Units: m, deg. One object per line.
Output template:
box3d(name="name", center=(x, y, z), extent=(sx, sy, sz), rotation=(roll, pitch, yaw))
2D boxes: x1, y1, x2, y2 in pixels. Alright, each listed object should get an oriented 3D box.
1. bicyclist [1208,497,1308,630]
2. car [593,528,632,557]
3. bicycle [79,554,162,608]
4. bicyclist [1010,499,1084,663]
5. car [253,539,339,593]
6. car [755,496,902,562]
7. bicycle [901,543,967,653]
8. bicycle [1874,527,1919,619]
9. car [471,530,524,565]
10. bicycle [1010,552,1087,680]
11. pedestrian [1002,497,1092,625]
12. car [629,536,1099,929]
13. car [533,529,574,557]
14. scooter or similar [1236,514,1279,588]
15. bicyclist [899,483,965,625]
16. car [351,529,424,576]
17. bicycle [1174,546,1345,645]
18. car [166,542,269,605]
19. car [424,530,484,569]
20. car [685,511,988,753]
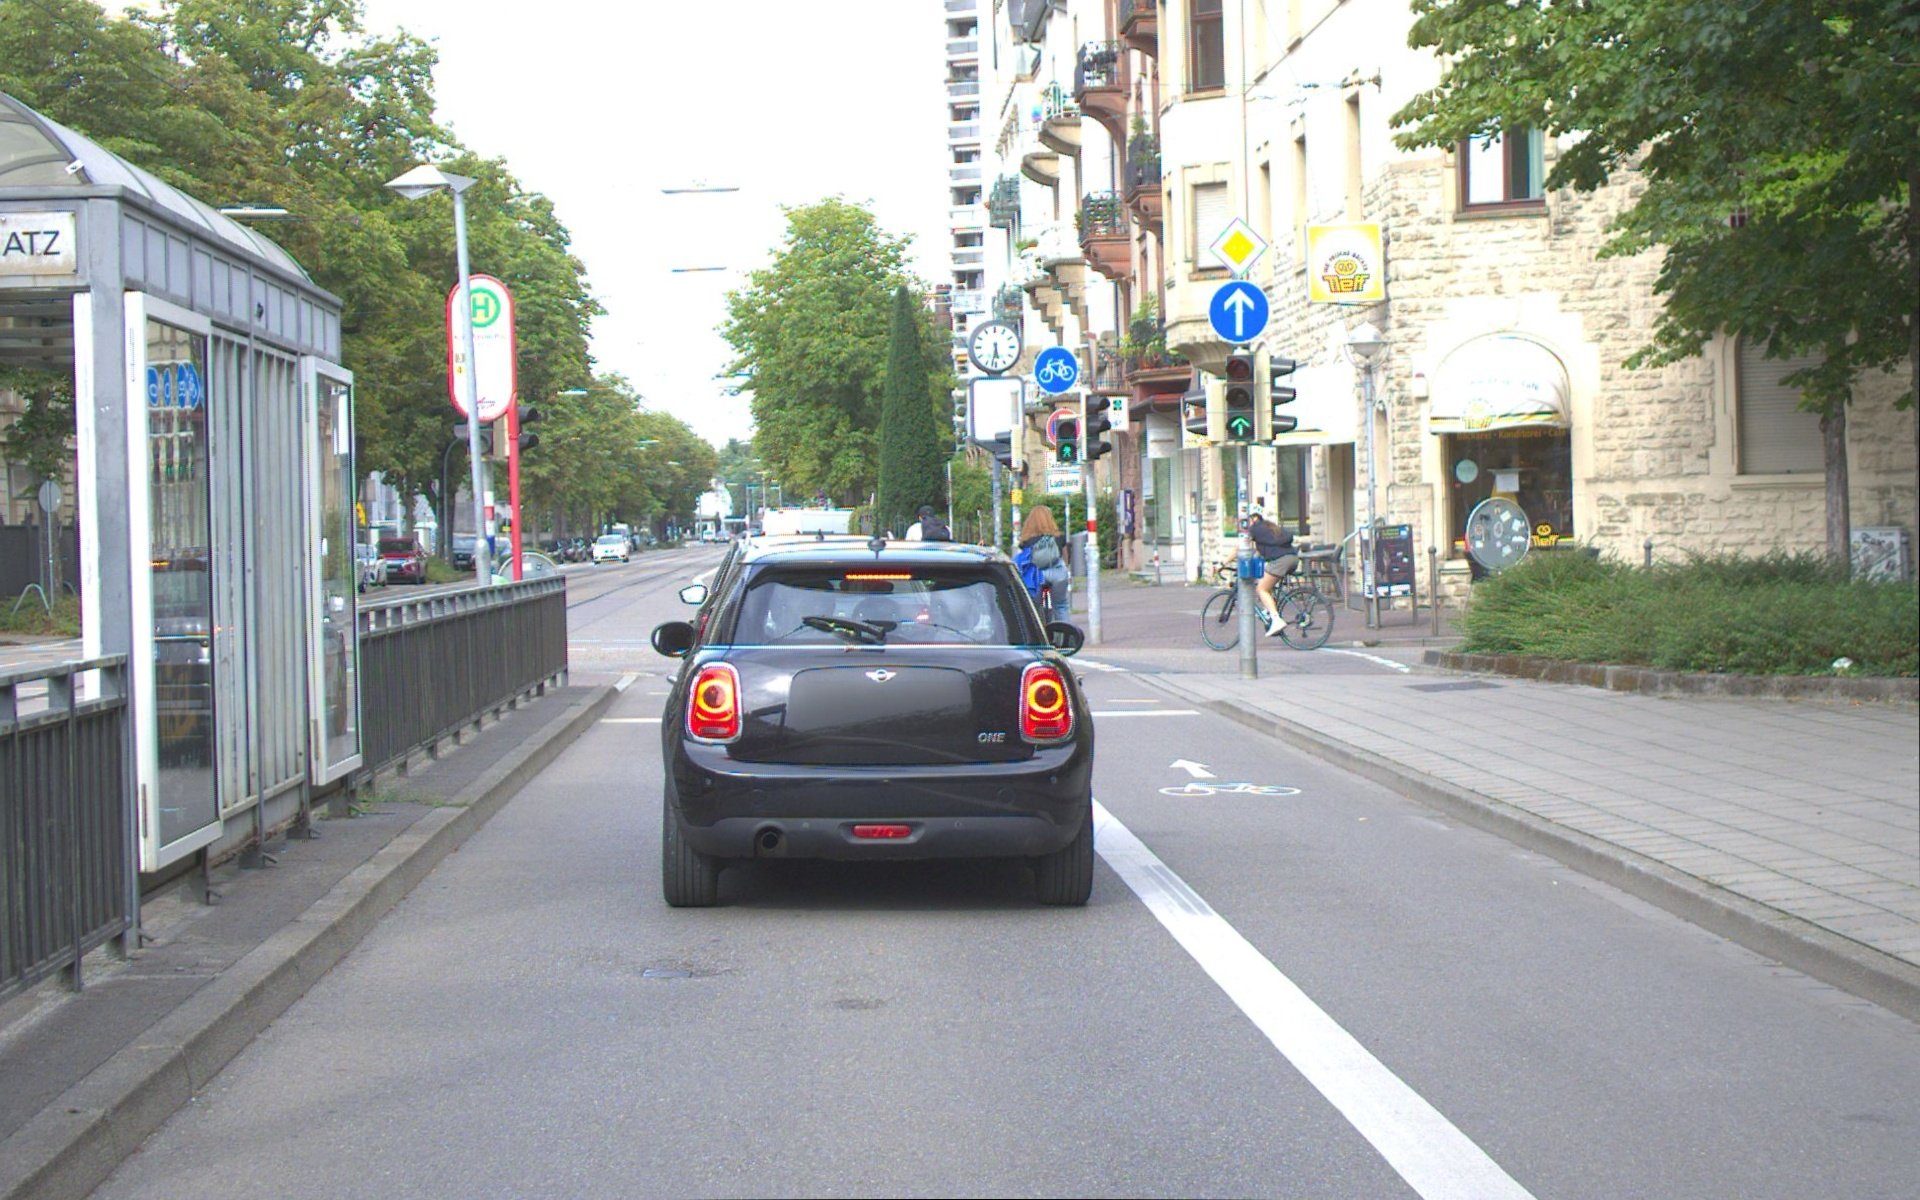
box3d(name="bicyclist", center=(3.401, -0.418, 39.197), extent=(0.913, 1.467, 0.616), rotation=(-1, 2, 29))
box3d(name="car", center=(-17.759, -2.930, 175.689), extent=(1.766, 1.390, 4.001), rotation=(-2, 1, -3))
box3d(name="bicycle", center=(-18.404, -0.420, 75.381), extent=(1.667, 1.115, 0.573), rotation=(-4, 2, -41))
box3d(name="bicyclist", center=(0.838, -0.191, 33.354), extent=(0.594, 1.545, 1.014), rotation=(-2, 2, -2))
box3d(name="car", center=(-18.301, -0.956, 94.890), extent=(1.766, 1.390, 4.001), rotation=(-2, 1, -3))
box3d(name="car", center=(-4.857, -2.629, 127.627), extent=(5.026, 2.265, 2.396), rotation=(-3, 2, -42))
box3d(name="bicycle", center=(-0.294, -0.039, 38.904), extent=(0.684, 1.166, 1.697), rotation=(-2, 2, 0))
box3d(name="bicycle", center=(10.652, -0.313, 37.782), extent=(0.602, 0.969, 1.669), rotation=(-1, 2, 36))
box3d(name="car", center=(-21.613, -2.455, 160.735), extent=(1.993, 1.546, 4.001), rotation=(-2, 1, -2))
box3d(name="bicycle", center=(0.851, 0.135, 33.366), extent=(0.598, 1.166, 1.697), rotation=(-2, 2, -2))
box3d(name="pedestrian", center=(1.197, -0.536, 47.472), extent=(0.732, 1.668, 0.833), rotation=(-4, 2, 44))
box3d(name="car", center=(-0.419, 0.458, 14.832), extent=(1.751, 1.436, 4.001), rotation=(0, 1, -2))
box3d(name="car", center=(-23.266, -3.273, 196.922), extent=(1.993, 1.546, 4.001), rotation=(-2, 1, -2))
box3d(name="scooter or similar", center=(4.892, -0.808, 56.515), extent=(0.508, 1.184, 1.262), rotation=(-2, 2, -2))
box3d(name="bicyclist", center=(-0.314, -0.528, 38.841), extent=(0.684, 1.558, 0.998), rotation=(-2, 2, 0))
box3d(name="car", center=(-20.218, -1.691, 121.556), extent=(1.993, 1.546, 4.001), rotation=(-2, 1, -2))
box3d(name="bicycle", center=(3.408, -0.049, 39.209), extent=(1.818, 1.073, 0.616), rotation=(-1, 2, 29))
box3d(name="car", center=(-17.871, -0.664, 82.874), extent=(1.766, 1.390, 4.001), rotation=(-2, 1, -3))
box3d(name="car", center=(-21.250, -2.131, 144.504), extent=(1.993, 1.546, 4.001), rotation=(-2, 1, -2))
box3d(name="car", center=(-0.957, 0.164, 24.419), extent=(1.926, 1.504, 4.001), rotation=(-2, 1, -4))
